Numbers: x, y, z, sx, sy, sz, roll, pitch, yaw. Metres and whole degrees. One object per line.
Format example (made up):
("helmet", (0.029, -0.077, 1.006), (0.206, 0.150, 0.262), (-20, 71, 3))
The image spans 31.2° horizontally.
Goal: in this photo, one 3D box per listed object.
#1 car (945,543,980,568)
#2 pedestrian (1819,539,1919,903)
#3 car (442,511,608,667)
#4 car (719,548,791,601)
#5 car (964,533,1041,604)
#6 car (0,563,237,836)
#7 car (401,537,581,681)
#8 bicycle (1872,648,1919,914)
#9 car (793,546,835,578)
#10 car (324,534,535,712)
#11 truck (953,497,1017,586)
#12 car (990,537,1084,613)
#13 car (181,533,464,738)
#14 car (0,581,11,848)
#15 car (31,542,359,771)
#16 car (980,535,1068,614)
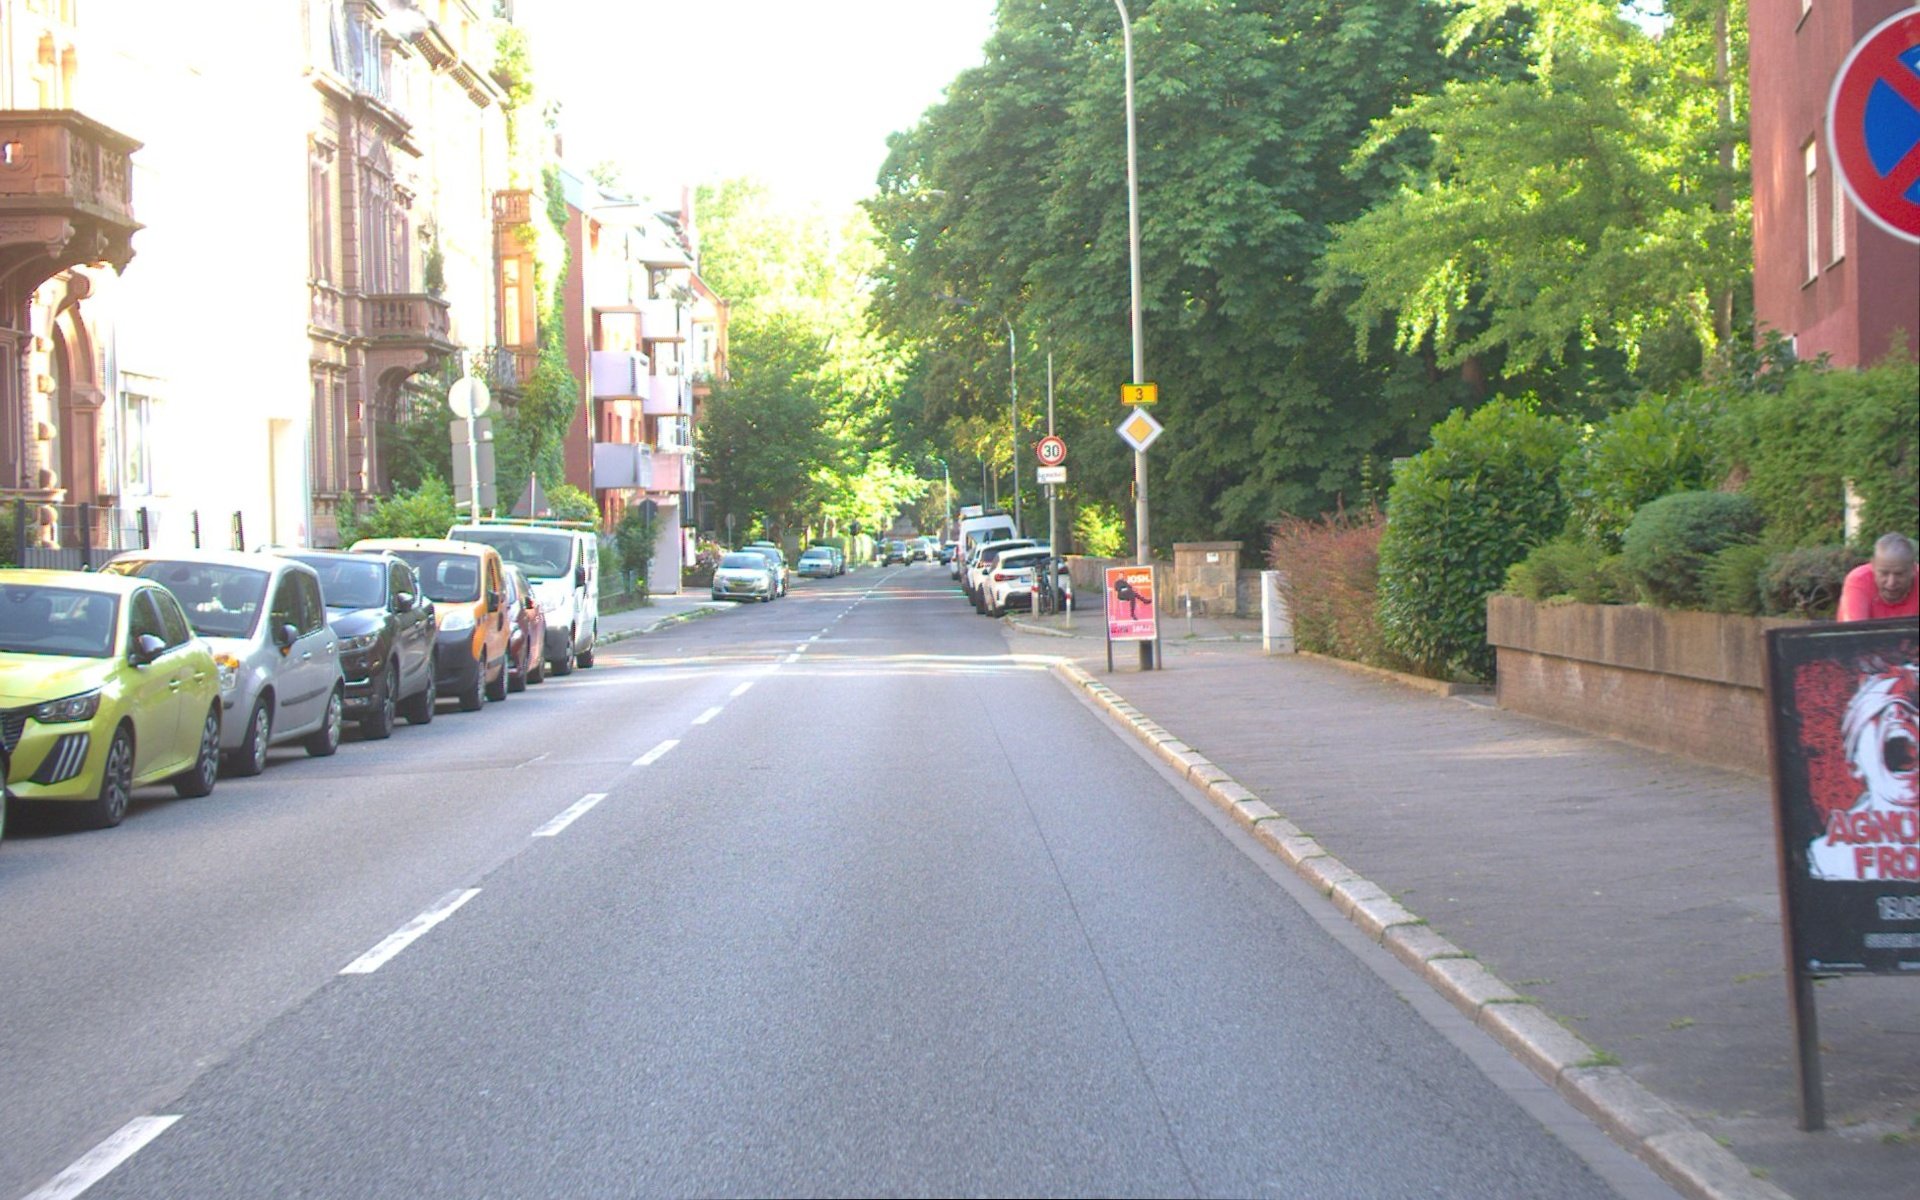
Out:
("car", (0.147, -2.922, 225.828), (1.993, 1.486, 4.471), (-1, 2, -4))
("pedestrian", (3.817, 0.466, 13.659), (0.597, 1.398, 0.668), (0, 2, -2))
("car", (-5.847, -0.192, 46.686), (1.792, 2.003, 4.698), (0, 1, -2))
("car", (-6.412, -0.804, 107.822), (1.993, 1.486, 4.471), (-1, 2, -1))
("car", (1.142, -0.857, 91.890), (1.993, 1.731, 4.000), (-1, 2, 1))
("car", (-5.630, 0.552, 20.933), (1.702, 1.498, 4.073), (0, 0, -2))
("car", (-5.571, 0.065, 41.223), (1.702, 1.614, 4.118), (0, 1, -2))
("bicycle", (3.827, 0.680, 13.059), (0.566, 0.967, 0.492), (0, 2, -3))
("car", (-7.409, -1.943, 174.619), (1.993, 1.486, 4.471), (-1, 2, -1))
("car", (-5.468, 0.188, 35.820), (1.702, 1.732, 3.857), (0, 1, -2))
("truck", (0.841, -2.013, 116.745), (1.993, 2.887, 4.471), (-1, 2, -1))
("car", (1.684, -0.580, 75.710), (1.993, 1.512, 4.000), (-1, 2, 1))
("car", (-5.658, 0.256, 31.001), (1.702, 1.702, 4.440), (1, 1, 0))
("car", (-5.708, 0.617, 15.855), (1.702, 1.362, 3.860), (0, 1, -2))
("car", (-5.668, 0.366, 25.859), (1.702, 1.578, 3.635), (1, 1, -1))
("car", (1.510, -0.627, 81.267), (1.993, 1.731, 4.000), (-1, 2, 1))
